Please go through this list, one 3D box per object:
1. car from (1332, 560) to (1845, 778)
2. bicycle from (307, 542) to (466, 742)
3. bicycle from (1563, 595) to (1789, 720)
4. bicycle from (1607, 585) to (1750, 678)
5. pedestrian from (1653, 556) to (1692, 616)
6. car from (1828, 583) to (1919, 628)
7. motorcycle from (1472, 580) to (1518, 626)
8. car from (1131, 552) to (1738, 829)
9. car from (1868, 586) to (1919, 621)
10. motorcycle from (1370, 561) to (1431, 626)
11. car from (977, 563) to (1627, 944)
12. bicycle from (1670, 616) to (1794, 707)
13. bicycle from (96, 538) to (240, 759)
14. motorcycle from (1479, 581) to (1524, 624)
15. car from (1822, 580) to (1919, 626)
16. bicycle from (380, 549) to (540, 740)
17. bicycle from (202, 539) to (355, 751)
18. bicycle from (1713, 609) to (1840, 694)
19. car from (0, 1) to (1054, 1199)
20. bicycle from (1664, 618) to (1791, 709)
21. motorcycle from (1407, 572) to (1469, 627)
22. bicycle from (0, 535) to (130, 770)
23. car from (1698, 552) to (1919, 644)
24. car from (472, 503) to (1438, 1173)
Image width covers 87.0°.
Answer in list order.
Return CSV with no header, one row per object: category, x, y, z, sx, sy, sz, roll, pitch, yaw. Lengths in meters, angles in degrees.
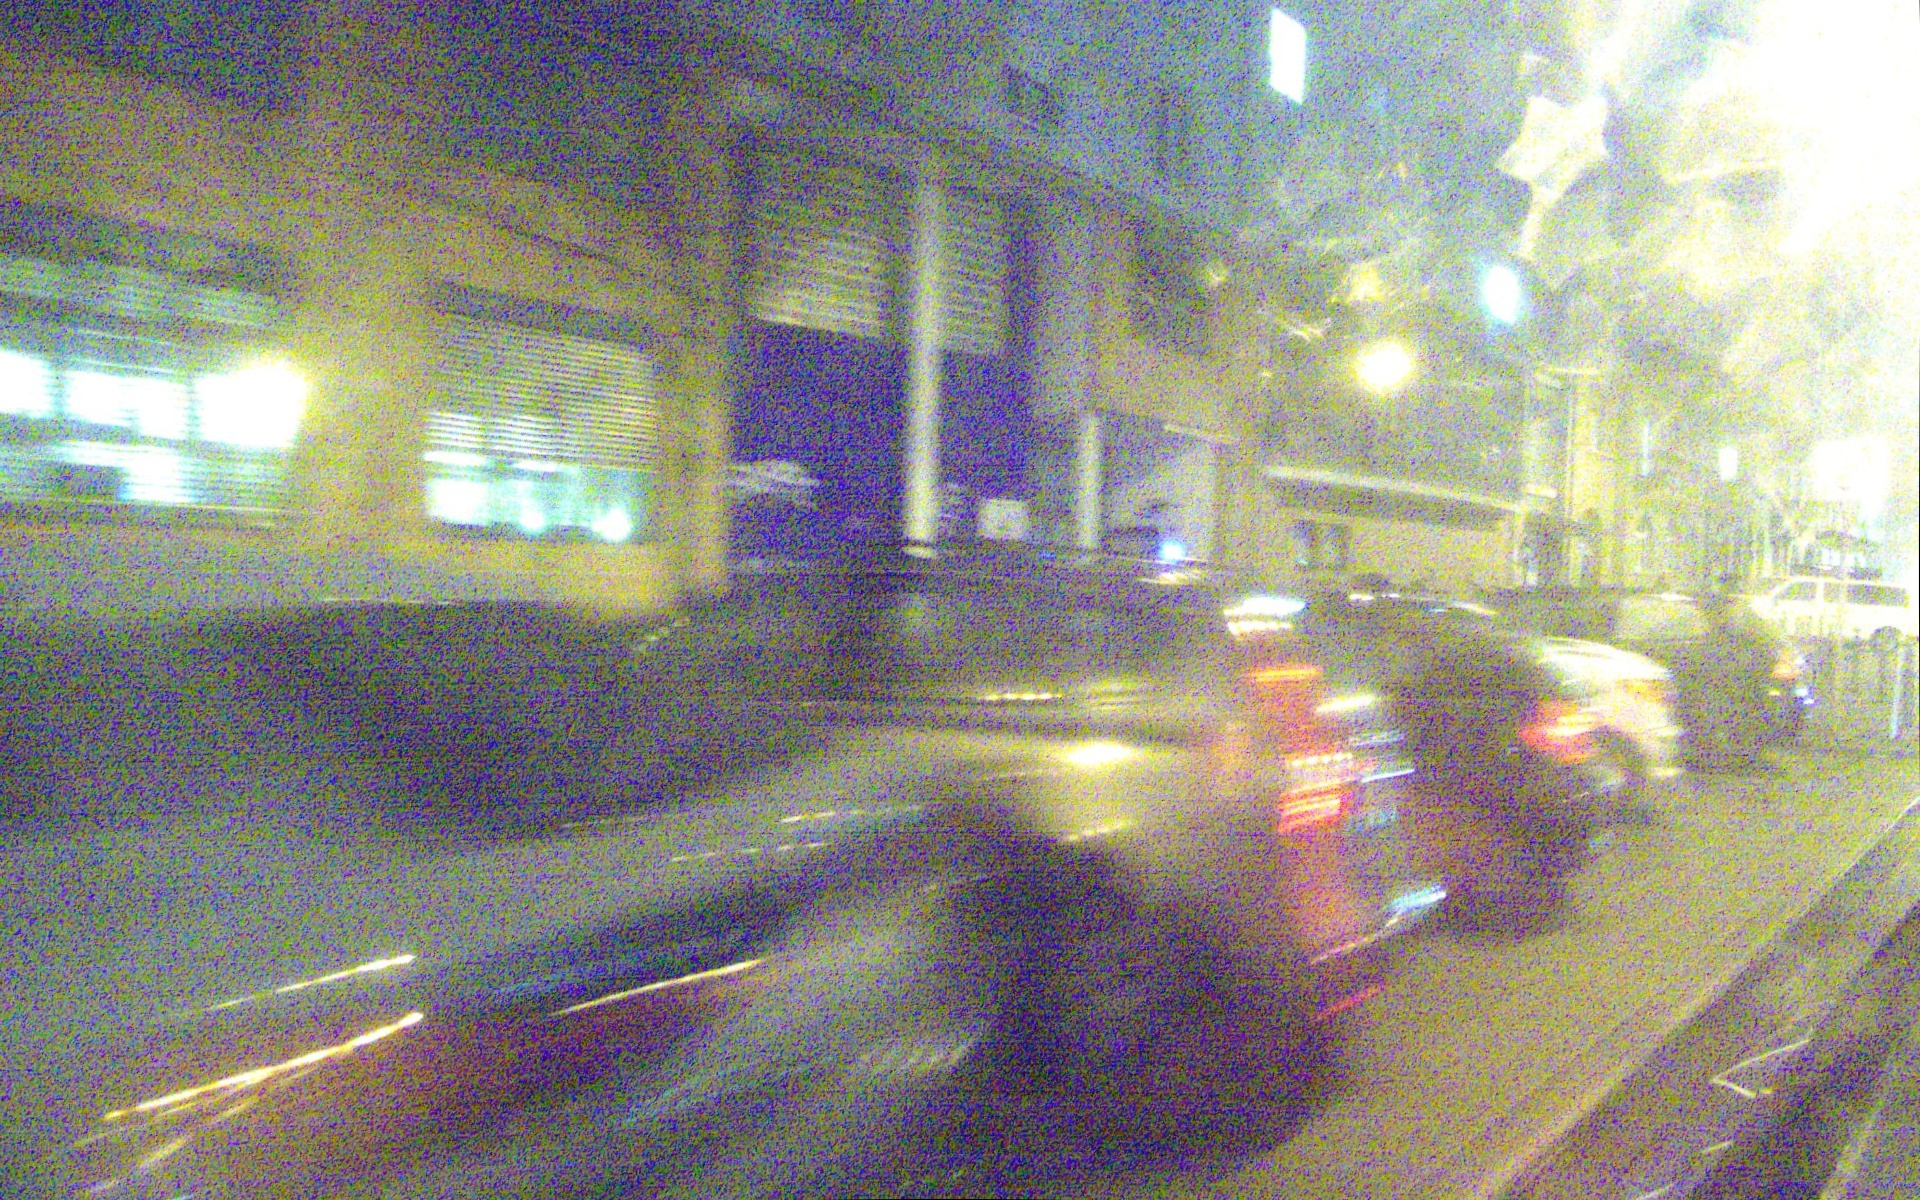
car,5.502,0.482,9.400,3.675,1.541,1.643,4,3,25
bicycle,-3.966,0.227,6.935,1.685,1.160,0.422,6,4,42
bicycle,7.916,0.585,11.275,0.667,1.172,1.895,1,3,-37
bicycle,10.806,0.444,15.272,0.378,1.249,1.669,1,3,-37
pedestrian,22.992,-0.453,32.677,0.828,1.863,0.747,3,1,-41
car,35.318,0.222,38.273,3.345,1.580,1.589,2,2,13
motorcycle,12.997,0.052,24.555,0.522,1.080,2.027,1,2,42
car,3.330,0.483,7.651,3.675,1.541,1.643,4,3,25
car,44.158,0.233,45.932,4.052,1.510,1.589,3,2,12
motorcycle,9.451,-0.141,21.654,0.522,1.335,2.093,1,1,42
car,1.768,0.604,5.565,3.021,1.571,1.490,1,1,29
bicycle,9.087,0.704,11.934,0.244,0.986,1.133,0,1,-42
bicycle,-4.981,0.235,6.325,1.685,1.160,0.422,6,4,42
motorcycle,14.025,0.048,26.200,1.597,1.081,0.523,0,1,-43
car,37.102,0.128,40.283,3.754,1.710,1.825,2,2,19
bicycle,-3.631,0.260,7.277,1.685,1.160,0.422,6,4,42
bicycle,-4.485,0.230,6.612,1.685,1.160,0.422,6,4,42
bicycle,10.769,0.661,13.374,0.297,0.959,1.213,1,5,-43
car,-1.978,0.373,2.449,4.058,1.787,1.845,1,1,22
bicycle,8.900,0.710,11.760,0.263,0.959,1.133,1,1,-42
motorcycle,11.085,-0.018,23.438,2.089,1.223,0.523,0,1,-42
bicycle,-5.414,0.239,6.025,1.685,1.160,0.478,6,4,42
car,24.186,-0.106,28.534,4.873,2.369,2.221,2,2,16
car,-0.071,0.548,4.072,3.533,1.631,1.696,1,1,29
